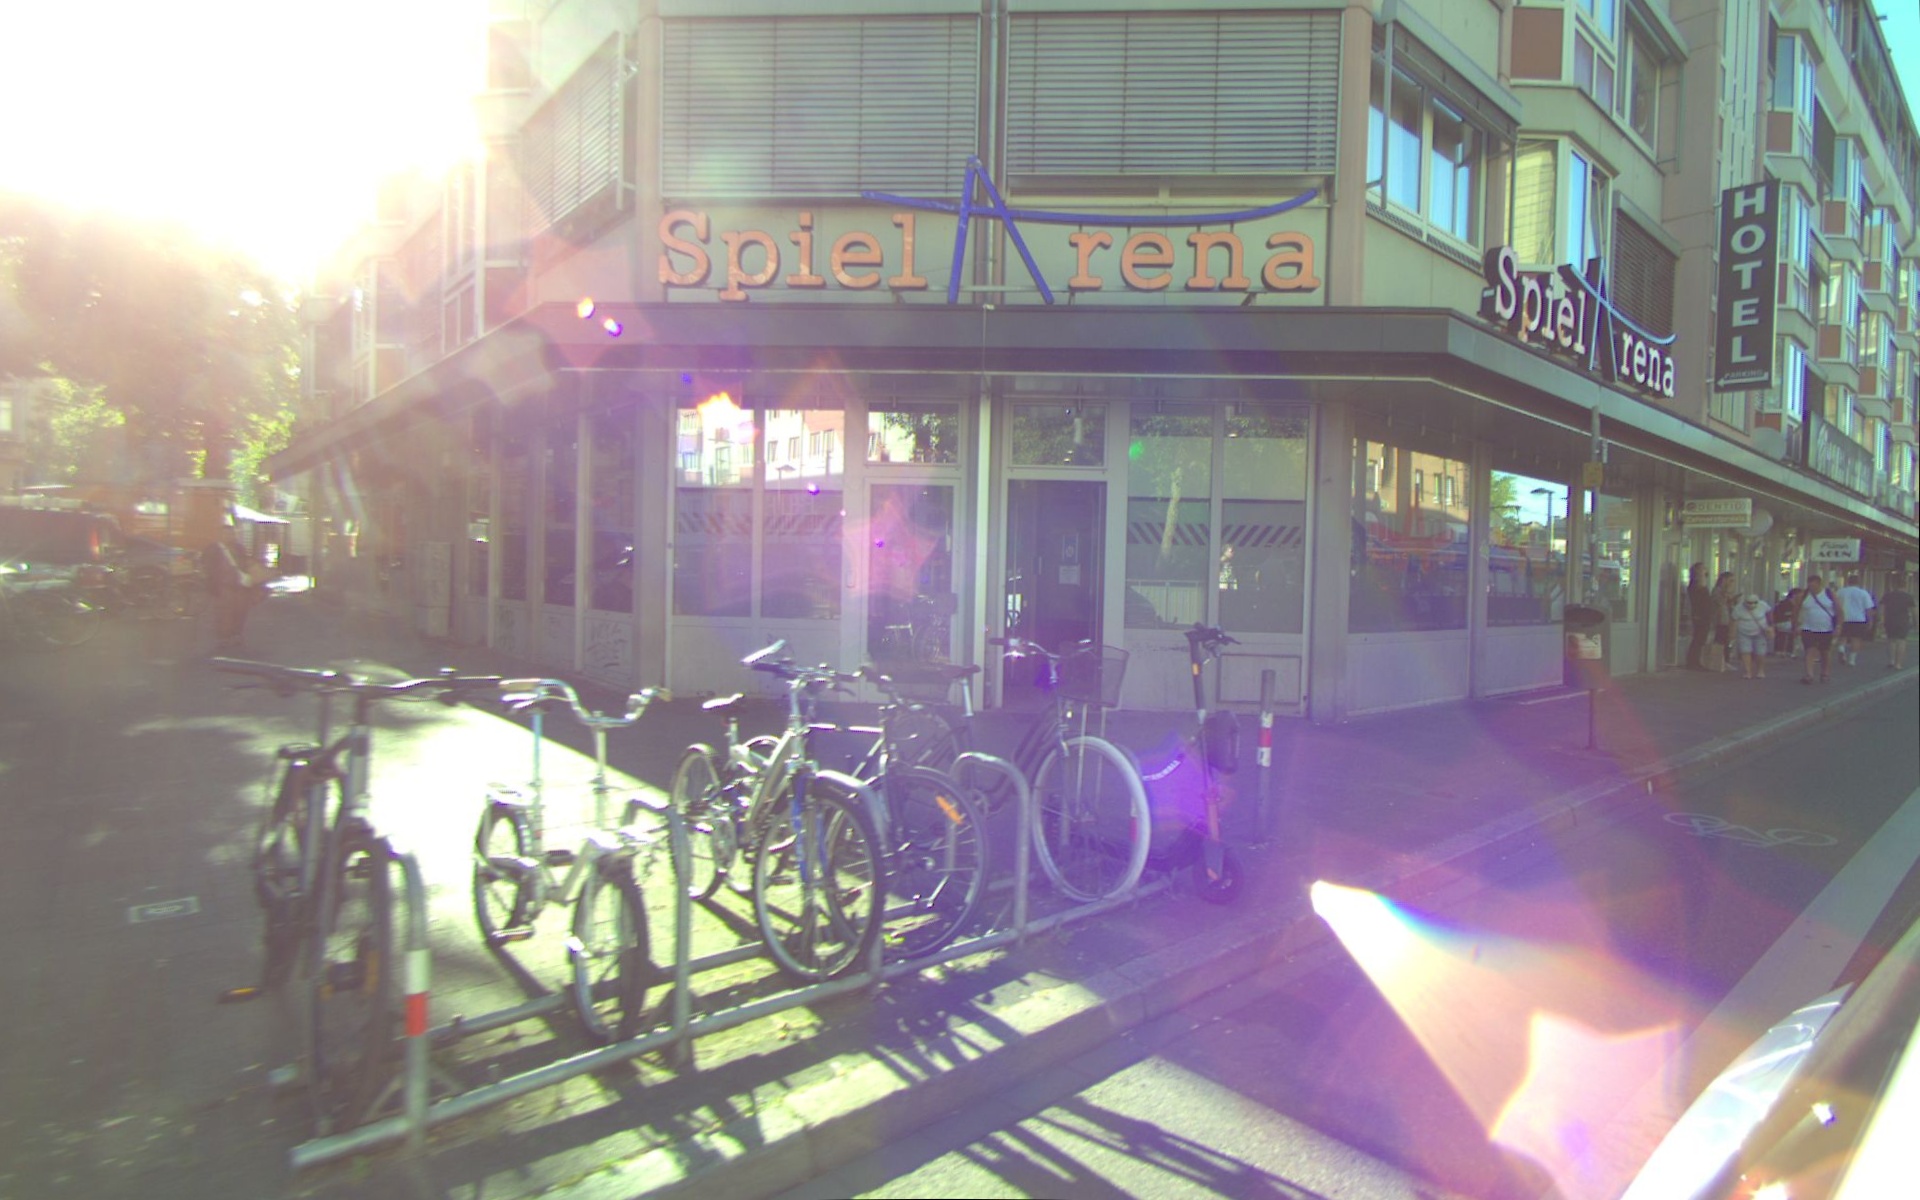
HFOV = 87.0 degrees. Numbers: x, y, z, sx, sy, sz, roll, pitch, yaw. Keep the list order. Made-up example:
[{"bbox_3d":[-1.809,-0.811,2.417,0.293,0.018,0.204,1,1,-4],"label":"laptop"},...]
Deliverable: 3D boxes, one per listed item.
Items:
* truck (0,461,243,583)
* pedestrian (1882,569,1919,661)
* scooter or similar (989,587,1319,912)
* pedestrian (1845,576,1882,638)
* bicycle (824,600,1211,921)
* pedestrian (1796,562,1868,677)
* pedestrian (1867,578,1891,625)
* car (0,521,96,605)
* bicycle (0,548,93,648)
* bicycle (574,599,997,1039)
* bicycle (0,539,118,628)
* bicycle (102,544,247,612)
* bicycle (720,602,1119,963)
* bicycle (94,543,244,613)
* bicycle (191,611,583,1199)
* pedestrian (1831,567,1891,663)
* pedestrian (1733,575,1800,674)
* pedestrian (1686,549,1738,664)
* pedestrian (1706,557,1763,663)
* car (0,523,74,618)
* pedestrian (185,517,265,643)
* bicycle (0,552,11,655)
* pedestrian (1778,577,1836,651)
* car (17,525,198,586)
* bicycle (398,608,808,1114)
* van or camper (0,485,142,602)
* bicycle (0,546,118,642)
[{"bbox_3d":[-22.469,-1.981,26.711,5.464,2.948,2.108,0,2,-26],"label":"truck"},{"bbox_3d":[18.835,0.290,20.040,0.796,1.749,0.668,0,4,-42],"label":"pedestrian"},{"bbox_3d":[0.869,0.605,4.874,0.581,1.244,1.482,0,4,-40],"label":"scooter or similar"},{"bbox_3d":[24.105,0.189,27.005,0.544,1.609,0.601,0,2,-41],"label":"pedestrian"},{"bbox_3d":[0.163,0.604,4.710,0.554,1.120,1.949,0,2,-42],"label":"bicycle"},{"bbox_3d":[13.737,0.287,15.943,0.800,1.749,0.745,0,0,-41],"label":"pedestrian"},{"bbox_3d":[32.770,0.047,36.089,0.512,1.653,0.518,1,1,-36],"label":"pedestrian"},{"bbox_3d":[-18.110,-0.659,17.478,4.456,1.419,2.004,0,2,-25],"label":"car"},{"bbox_3d":[-11.270,-0.034,11.802,1.660,1.152,0.599,0,1,-26],"label":"bicycle"},{"bbox_3d":[-0.771,0.631,3.837,0.617,1.180,1.949,0,2,-42],"label":"bicycle"},{"bbox_3d":[-12.410,-0.223,13.572,1.662,1.152,0.678,0,2,-35],"label":"bicycle"},{"bbox_3d":[-13.627,-0.384,17.588,1.950,1.121,0.673,0,2,-41],"label":"bicycle"},{"bbox_3d":[-0.279,0.615,4.299,0.554,1.120,1.949,0,2,-42],"label":"bicycle"},{"bbox_3d":[-13.204,-0.365,16.933,1.950,1.121,0.648,0,2,-41],"label":"bicycle"},{"bbox_3d":[-1.744,0.645,2.893,0.554,1.120,1.949,0,2,-42],"label":"bicycle"},{"bbox_3d":[18.073,0.283,20.302,0.750,1.842,0.707,0,4,-41],"label":"pedestrian"},{"bbox_3d":[12.923,0.373,16.218,0.643,1.501,0.637,0,4,-42],"label":"pedestrian"},{"bbox_3d":[12.654,0.096,17.025,0.797,1.872,0.452,0,2,-41],"label":"pedestrian"},{"bbox_3d":[13.594,0.162,17.761,0.492,1.791,0.630,0,2,-40],"label":"pedestrian"},{"bbox_3d":[-16.602,-0.474,15.340,4.370,1.419,1.932,0,2,-24],"label":"car"},{"bbox_3d":[-9.648,-0.268,13.303,0.817,1.593,0.688,0,2,-36],"label":"pedestrian"},{"bbox_3d":[-11.592,0.033,10.849,1.960,1.152,0.655,1,1,-23],"label":"bicycle"},{"bbox_3d":[18.004,0.285,21.507,0.694,1.489,0.740,0,4,-40],"label":"pedestrian"},{"bbox_3d":[-20.505,-1.053,24.500,3.153,1.345,1.625,0,2,-33],"label":"car"},{"bbox_3d":[-1.288,0.636,3.339,0.554,1.120,1.949,0,2,-42],"label":"bicycle"},{"bbox_3d":[-19.117,-1.109,19.610,4.637,2.165,2.095,1,2,-21],"label":"van or camper"},{"bbox_3d":[-11.547,-0.080,12.480,1.660,1.152,0.703,0,1,-26],"label":"bicycle"}]
